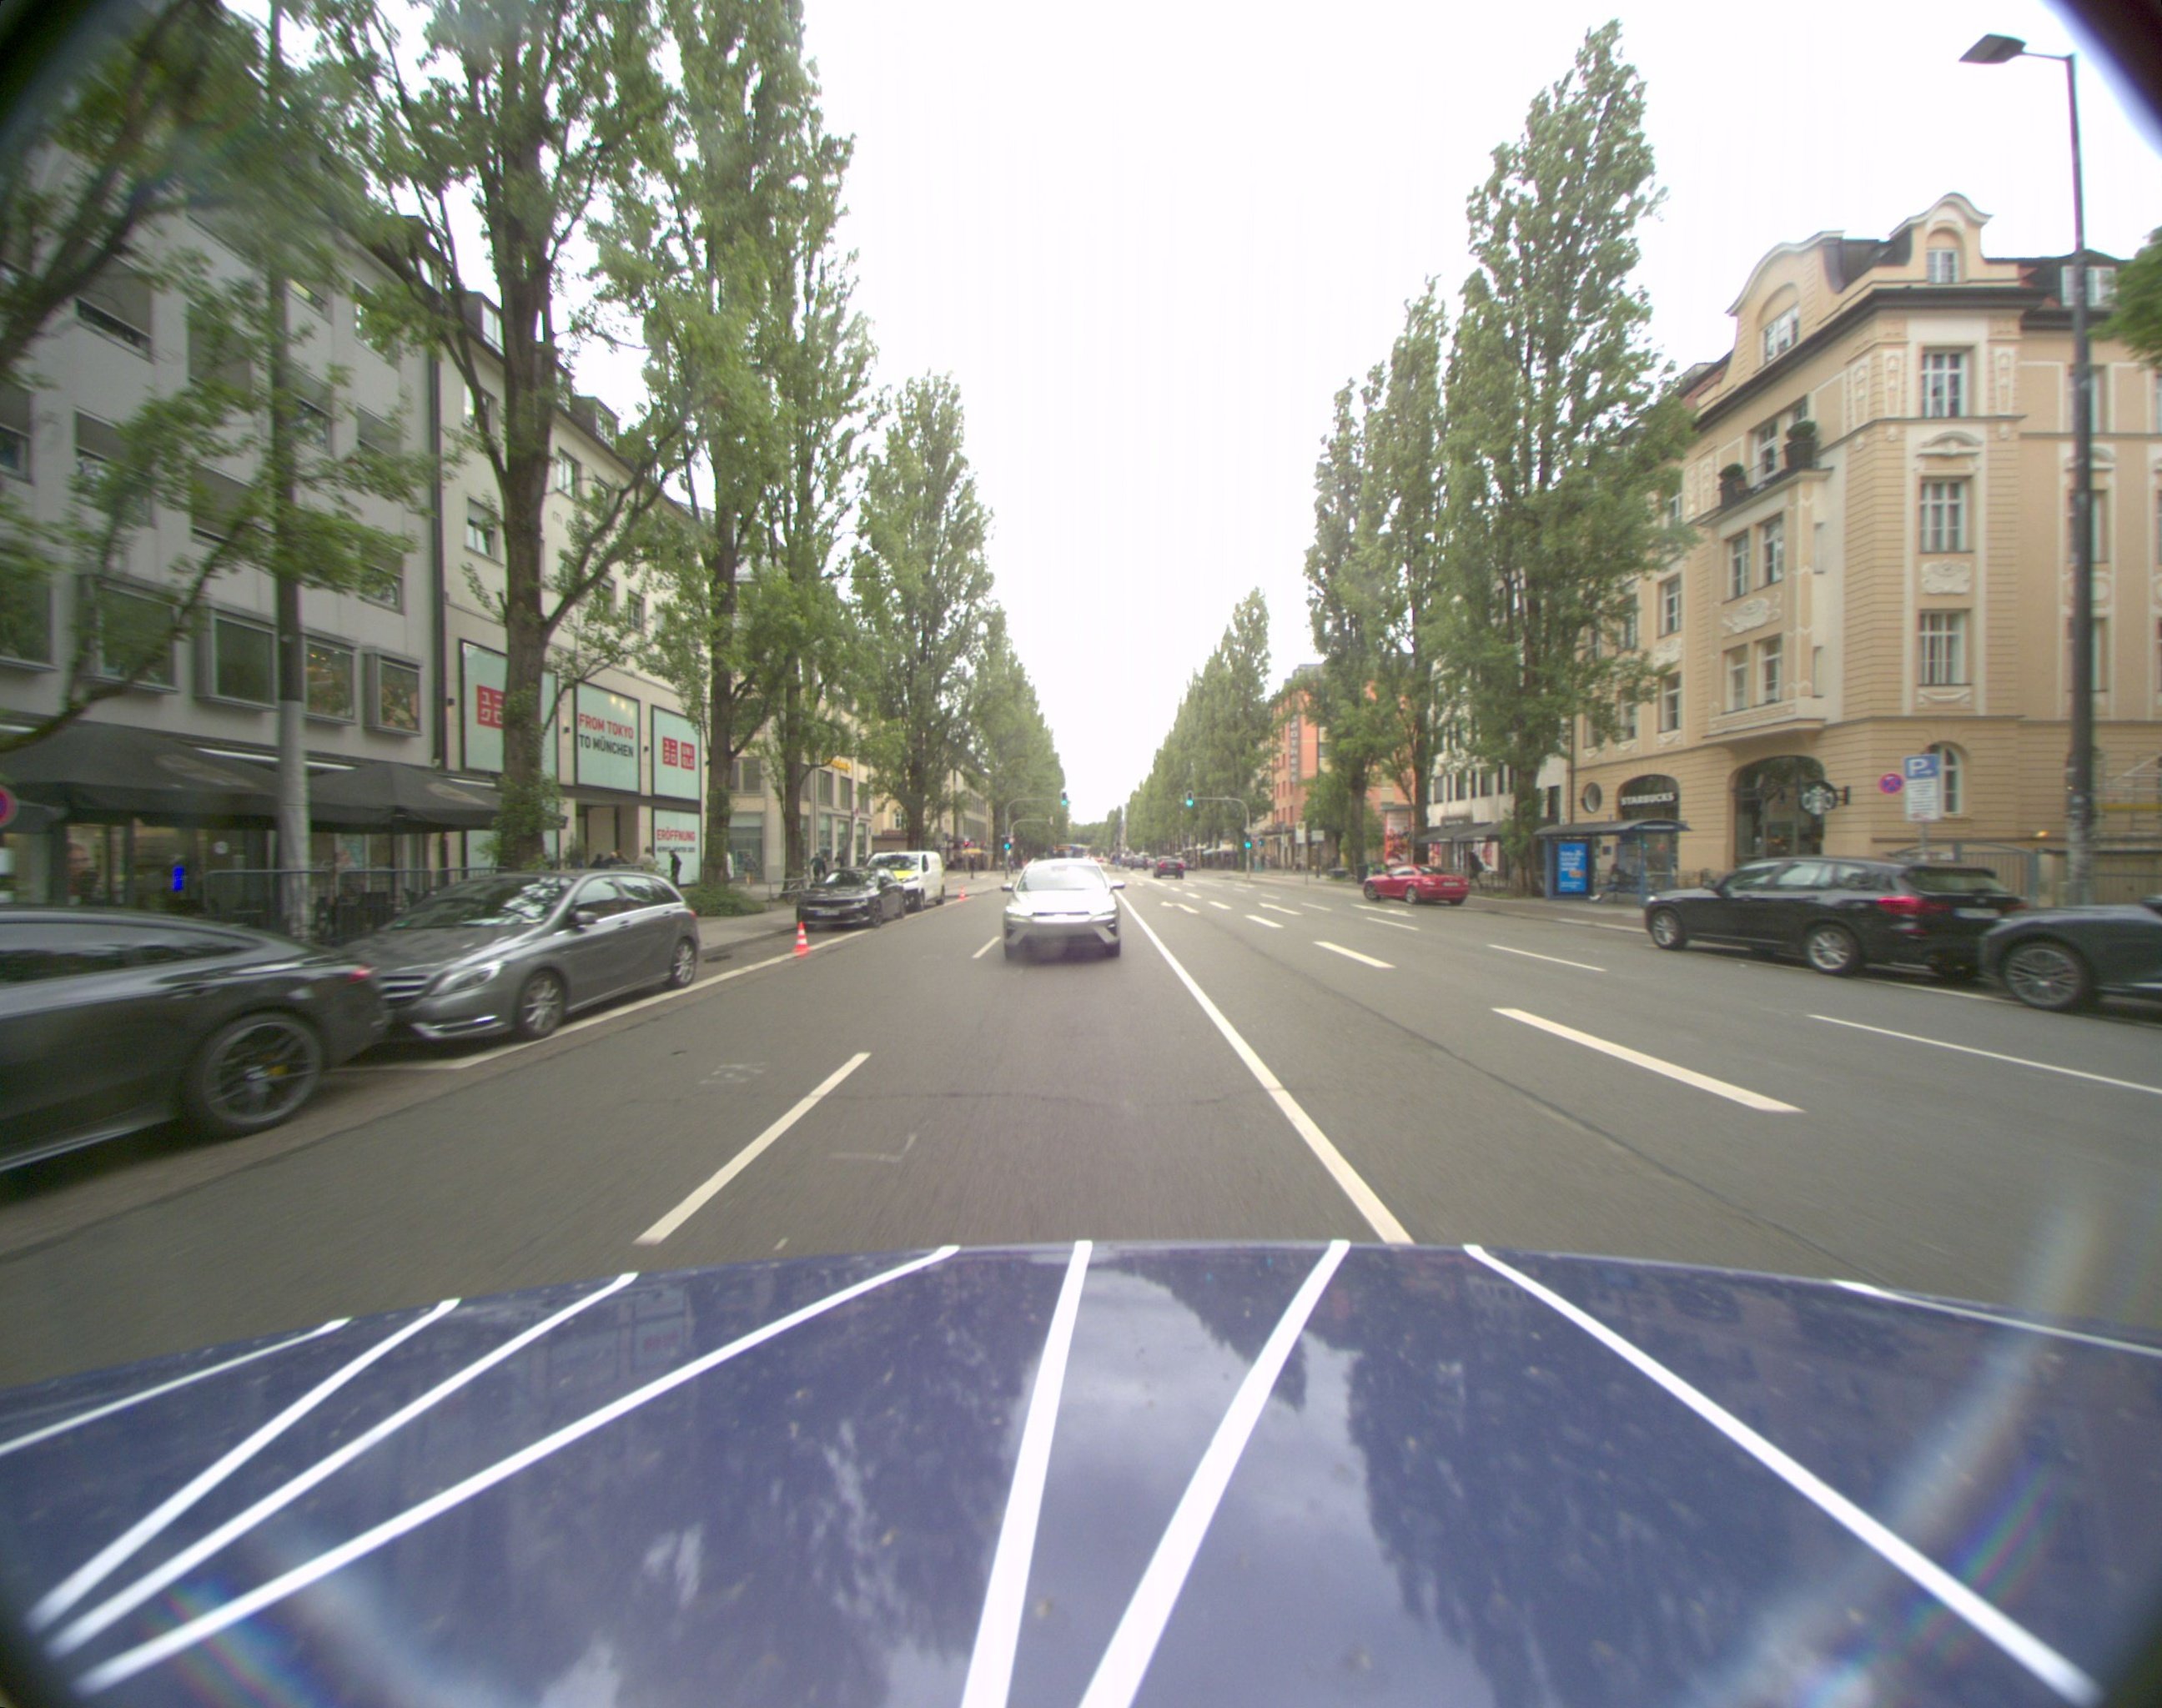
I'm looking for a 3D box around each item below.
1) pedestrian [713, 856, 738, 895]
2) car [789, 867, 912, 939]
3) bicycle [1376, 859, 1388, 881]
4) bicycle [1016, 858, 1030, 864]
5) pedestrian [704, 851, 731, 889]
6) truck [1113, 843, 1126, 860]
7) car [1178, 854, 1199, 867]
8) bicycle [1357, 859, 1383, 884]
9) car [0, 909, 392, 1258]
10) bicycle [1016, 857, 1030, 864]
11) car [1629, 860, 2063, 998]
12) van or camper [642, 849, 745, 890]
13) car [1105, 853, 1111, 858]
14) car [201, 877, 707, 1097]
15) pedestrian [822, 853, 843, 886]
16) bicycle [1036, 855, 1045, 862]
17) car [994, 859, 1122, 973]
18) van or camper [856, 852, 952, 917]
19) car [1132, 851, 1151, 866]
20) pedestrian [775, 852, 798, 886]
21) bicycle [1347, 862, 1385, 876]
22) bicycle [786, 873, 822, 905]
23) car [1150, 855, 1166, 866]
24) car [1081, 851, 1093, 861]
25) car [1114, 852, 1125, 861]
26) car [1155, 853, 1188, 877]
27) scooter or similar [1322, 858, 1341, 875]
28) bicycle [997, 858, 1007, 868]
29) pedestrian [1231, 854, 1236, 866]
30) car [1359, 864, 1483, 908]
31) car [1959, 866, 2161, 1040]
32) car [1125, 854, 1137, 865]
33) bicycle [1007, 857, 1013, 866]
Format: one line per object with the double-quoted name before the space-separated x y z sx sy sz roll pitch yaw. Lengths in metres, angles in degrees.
"pedestrian" -15.655 0.935 33.472 0.653 1.653 0.963 0 1 1
"car" -5.538 1.110 18.822 1.724 1.434 4.353 -2 0 -1
"bicycle" 15.864 0.818 40.053 0.507 1.082 1.812 -1 1 24
"bicycle" -8.489 0.993 110.336 2.005 0.939 0.286 -1 1 -8
"pedestrian" -16.436 0.701 34.382 0.752 1.708 0.963 0 1 1
"truck" 8.289 -0.535 164.213 2.469 3.649 8.438 0 1 1
"car" 12.681 0.790 89.584 1.707 1.430 4.589 1 1 -1
"bicycle" 16.005 0.959 42.049 1.958 1.282 0.507 -2 1 -42
"car" -5.802 1.111 2.956 1.883 1.424 4.804 0 0 -1
"bicycle" -8.398 0.923 110.018 2.005 1.077 0.286 0 1 -9
"car" 10.991 0.934 11.583 1.825 1.608 4.715 0 0 -1
"van or camper" -19.199 0.771 37.771 4.113 1.856 1.898 -2 1 5
"car" 8.878 0.592 248.197 1.848 1.626 4.575 1 0 1
"car" -5.753 1.066 7.844 1.821 1.497 4.231 0 0 -3
"pedestrian" -13.293 0.822 40.672 0.752 1.748 0.859 0 2 2
"bicycle" -7.874 0.891 148.681 0.829 1.403 2.594 -1 0 -25
"car" -0.323 0.892 12.782 1.758 1.529 3.916 -2 0 0
"van or camper" -5.577 0.886 24.571 1.873 1.872 4.903 -1 0 0
"car" 7.119 0.546 89.855 1.918 1.671 4.586 1 0 0
"pedestrian" -15.023 0.767 38.832 0.752 1.708 0.963 -1 0 2
"bicycle" 16.823 0.891 44.905 1.956 0.510 0.826 -2 22 -17
"bicycle" -9.512 1.184 26.162 0.365 1.032 1.731 0 0 9
"car" 10.092 0.803 100.139 1.646 1.431 3.997 1 0 0
"car" 1.138 0.360 145.030 2.052 1.671 4.586 1 0 0
"car" 7.170 0.422 142.649 1.889 1.736 4.439 -1 0 1
"car" 6.596 0.775 55.766 1.940 1.614 4.336 1 0 0
"scooter or similar" 19.235 0.943 58.336 1.362 1.331 0.439 0 1 21
"bicycle" -9.040 0.987 86.634 0.405 1.064 1.813 -6 0 16
"pedestrian" 20.837 0.787 104.117 0.556 1.707 0.692 0 1 0
"car" 11.352 1.020 25.718 1.885 1.290 4.091 0 0 -9
"car" 10.927 0.941 6.357 1.807 1.585 4.630 0 0 1
"car" 7.392 0.784 112.495 1.565 1.487 3.694 1 0 0
"bicycle" -8.342 0.907 89.171 0.510 1.042 1.770 0 0 -1
